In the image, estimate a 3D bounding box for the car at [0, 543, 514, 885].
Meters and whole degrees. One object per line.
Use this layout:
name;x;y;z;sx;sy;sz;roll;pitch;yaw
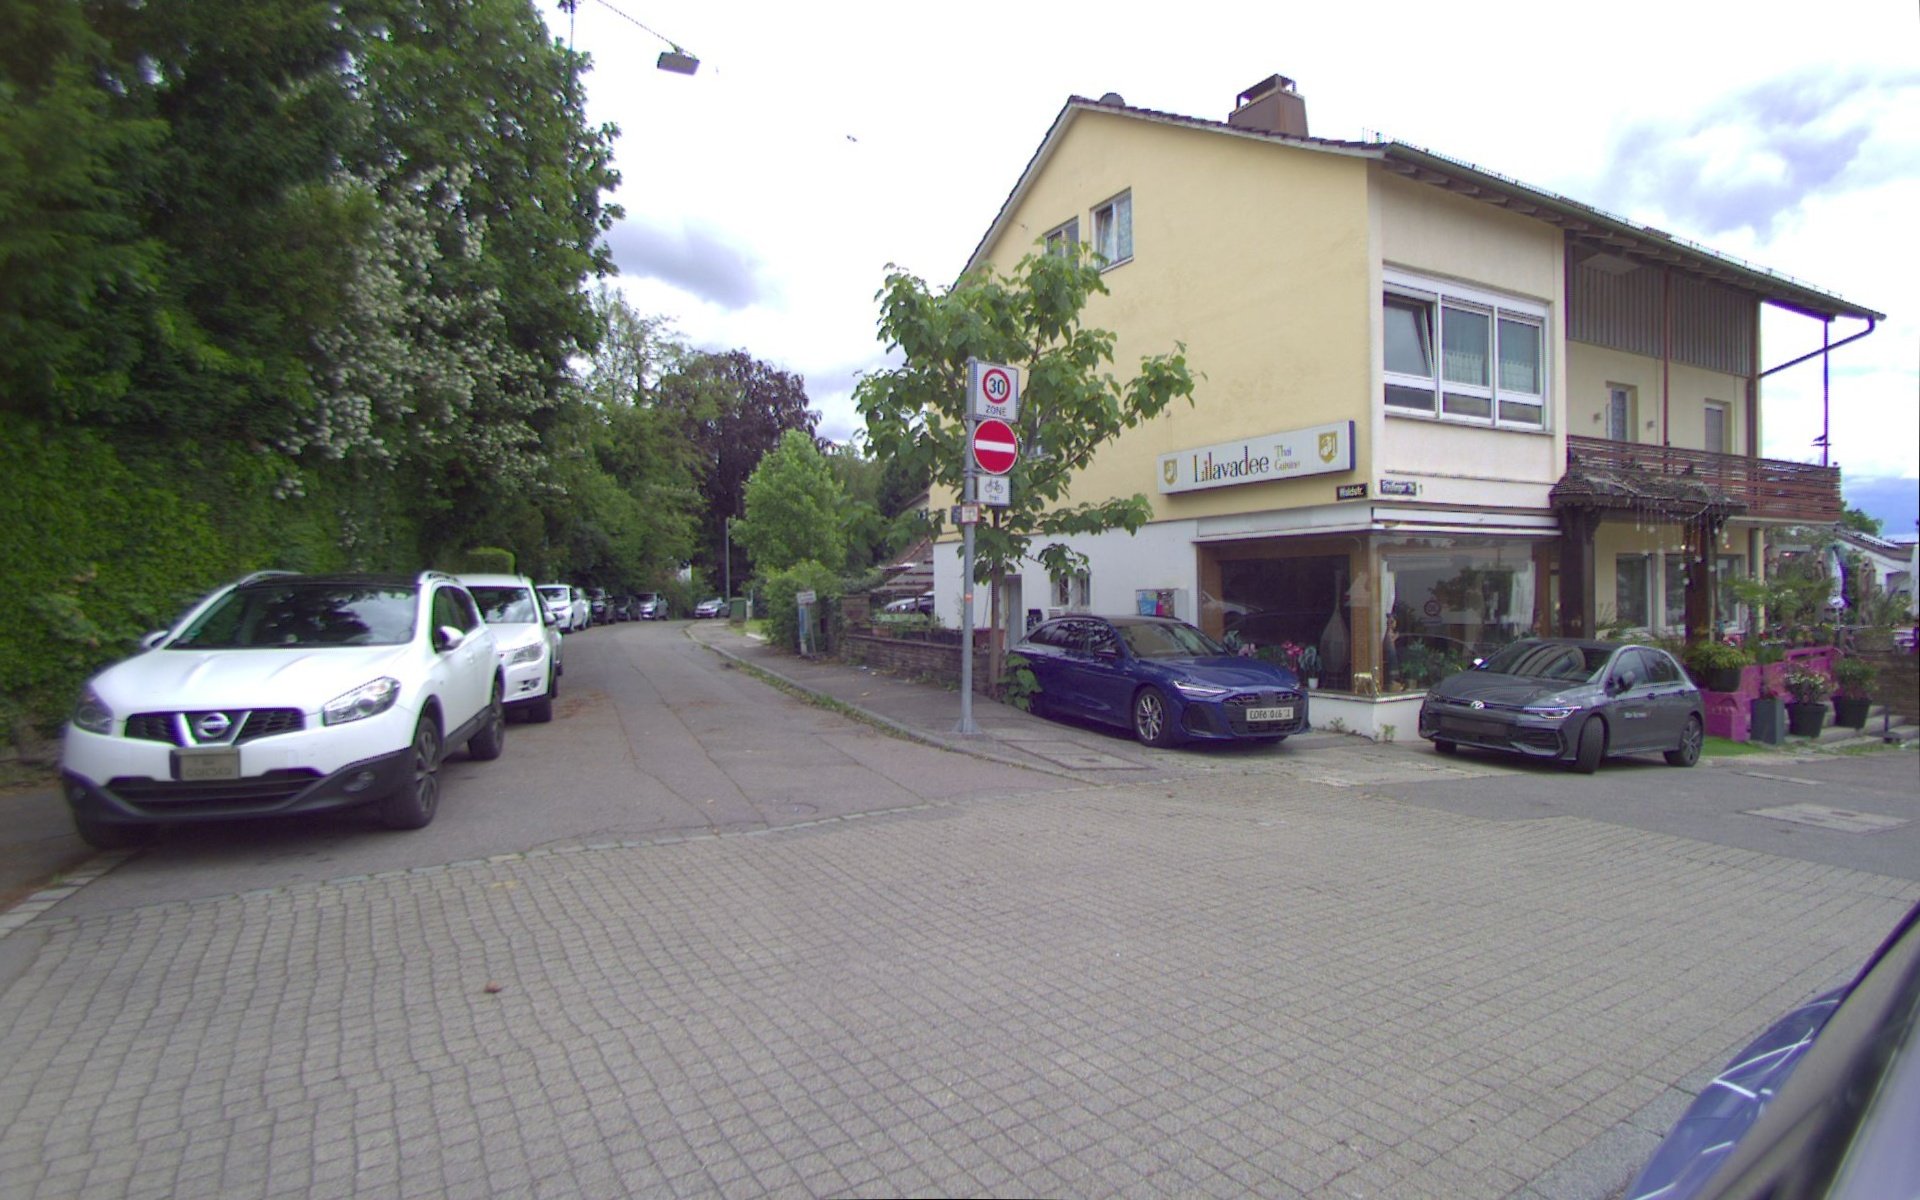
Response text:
car;-4.387;0.521;7.097;1.761;1.643;4.144;-1;1;-16

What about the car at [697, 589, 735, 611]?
car;-17.055;-0.006;70.865;1.547;1.502;3.468;0;1;6

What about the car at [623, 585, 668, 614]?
car;-17.130;-0.075;55.241;1.543;1.502;3.477;0;1;-3

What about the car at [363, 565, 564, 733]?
car;-5.735;0.450;12.142;1.761;1.643;4.080;-1;1;-20

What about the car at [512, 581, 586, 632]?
car;-12.984;0.167;32.171;1.541;1.502;3.745;-1;1;-12

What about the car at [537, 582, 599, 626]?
car;-14.311;0.118;37.087;1.541;1.502;3.481;-1;1;-12

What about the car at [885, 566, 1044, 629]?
car;0.117;-0.058;29.776;4.235;1.480;1.802;4;-2;-20

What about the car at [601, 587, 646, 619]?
car;-16.770;0.117;50.561;1.542;1.502;3.479;-1;1;-8

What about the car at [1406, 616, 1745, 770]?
car;7.384;1.085;12.008;4.242;1.480;1.800;5;-2;-34

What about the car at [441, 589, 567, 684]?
car;-7.985;0.544;18.015;1.761;1.441;4.080;-1;1;-20

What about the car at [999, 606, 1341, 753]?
car;2.350;0.847;12.807;1.761;1.405;4.758;2;0;-24

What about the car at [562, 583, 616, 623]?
car;-14.987;0.081;40.988;1.541;1.502;3.481;-1;1;-12
